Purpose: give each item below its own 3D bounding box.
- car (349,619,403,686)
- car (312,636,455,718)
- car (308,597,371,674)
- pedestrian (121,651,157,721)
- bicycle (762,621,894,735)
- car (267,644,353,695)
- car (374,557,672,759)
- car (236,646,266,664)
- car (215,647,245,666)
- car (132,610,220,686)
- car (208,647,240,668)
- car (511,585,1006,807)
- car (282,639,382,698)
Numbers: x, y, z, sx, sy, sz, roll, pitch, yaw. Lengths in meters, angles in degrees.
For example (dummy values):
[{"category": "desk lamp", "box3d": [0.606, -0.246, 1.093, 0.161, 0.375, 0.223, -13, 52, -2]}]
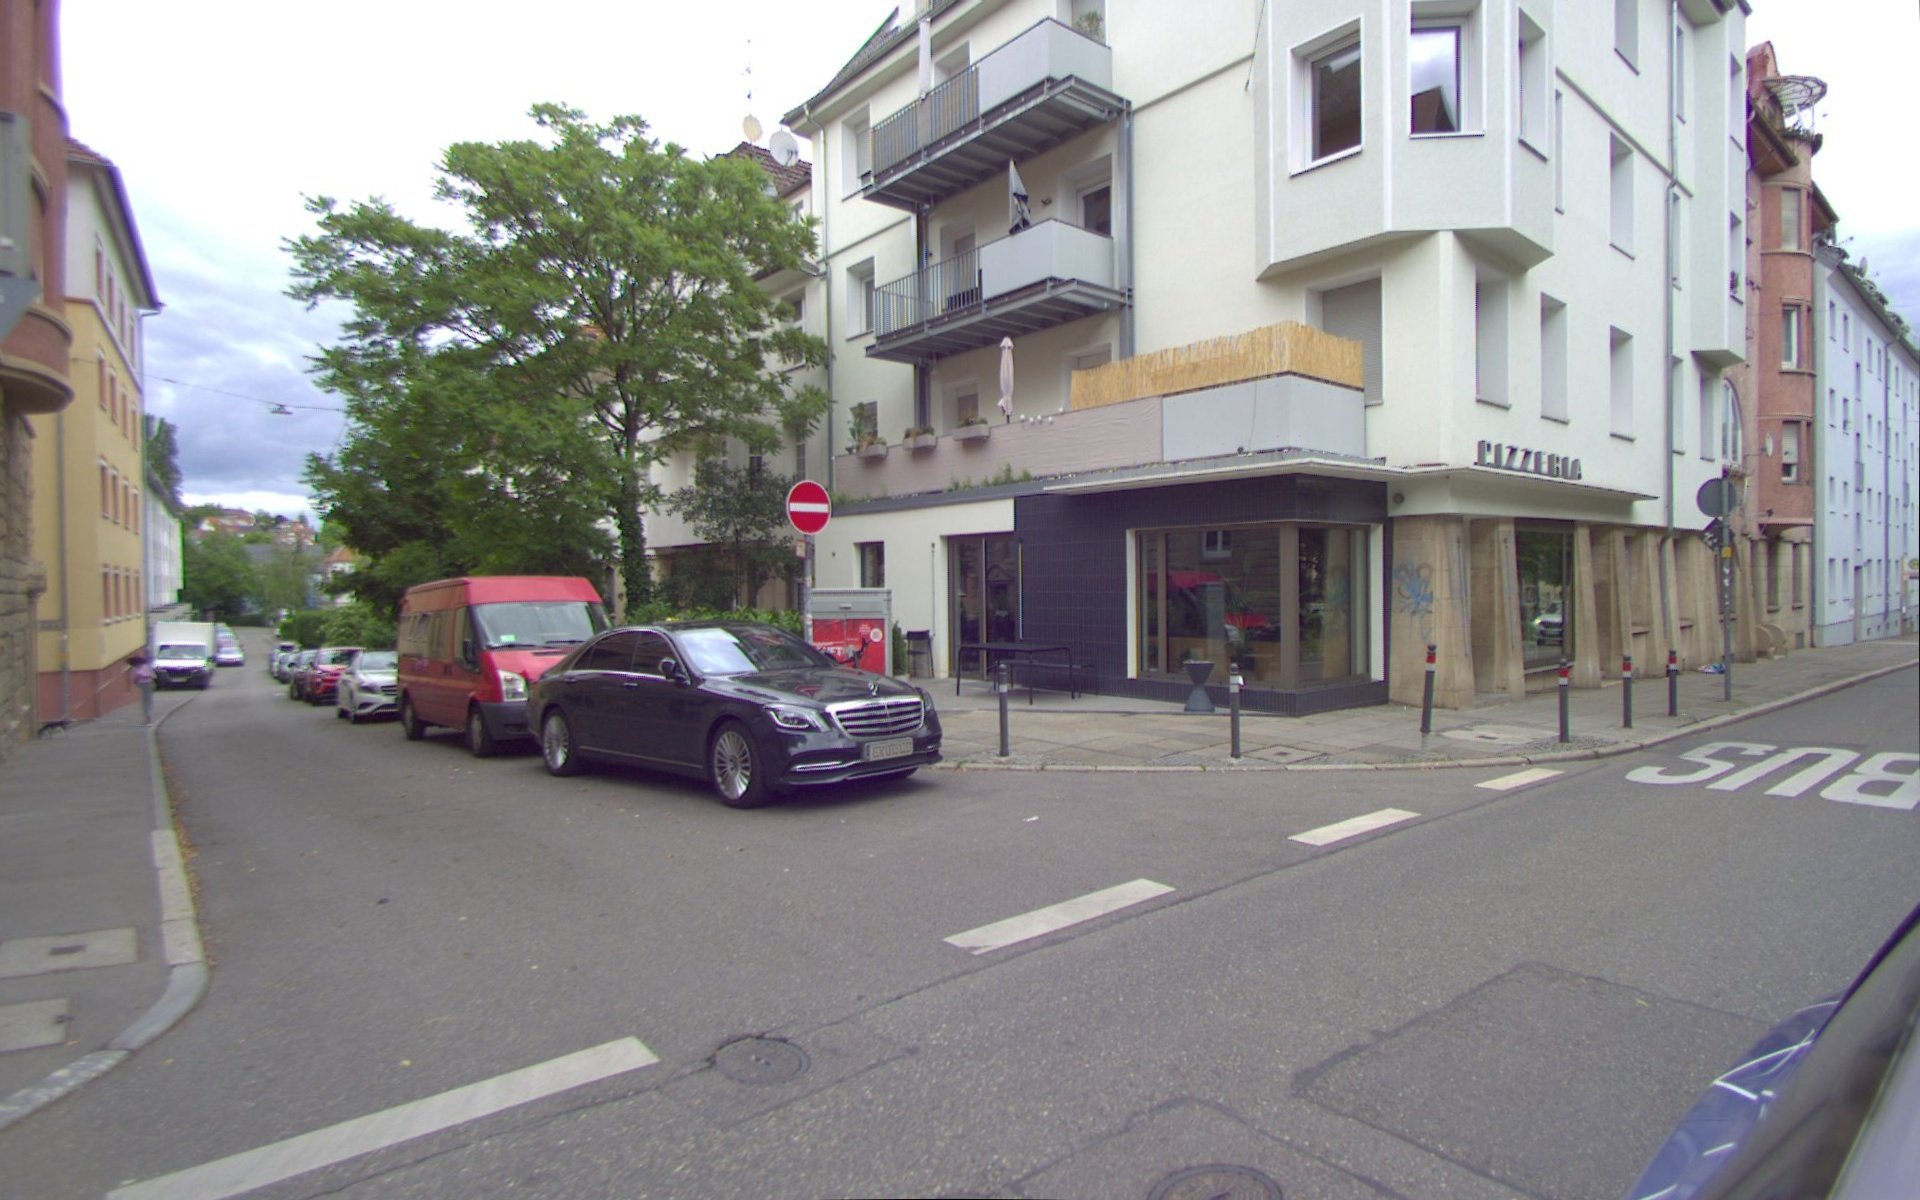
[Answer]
[{"category": "car", "box3d": [-25.272, 2.225, 43.721, 1.734, 2.721, 4.302, 1, -2, -33]}, {"category": "car", "box3d": [-12.036, 1.579, 20.987, 1.738, 1.474, 4.292, 0, -3, -41]}, {"category": "car", "box3d": [-37.381, 2.151, 60.829, 2.888, 4.228, 10.002, -1, -2, -33]}, {"category": "pedestrian", "box3d": [-19.045, 1.980, 23.476, 0.648, 1.564, 0.546, 0, -1, -41]}, {"category": "bicycle", "box3d": [-1.523, 0.853, 11.565, 1.495, 1.167, 0.625, 0, 2, 40]}, {"category": "car", "box3d": [-21.297, 2.281, 33.097, 1.738, 1.508, 4.292, 0, -3, -41]}, {"category": "car", "box3d": [-6.345, 0.767, 14.203, 2.200, 2.268, 5.590, 0, -2, -41]}, {"category": "car", "box3d": [-63.582, 4.894, 90.728, 1.690, 1.508, 4.293, -1, -2, -41]}, {"category": "car", "box3d": [-61.854, 4.744, 85.734, 1.690, 1.508, 4.293, -1, -2, -41]}, {"category": "car", "box3d": [-38.126, 2.218, 49.069, 2.970, 3.319, 9.534, 1, -2, -40]}, {"category": "car", "box3d": [-57.689, 4.471, 79.296, 1.690, 1.508, 4.293, -1, -2, -41]}, {"category": "car", "box3d": [-2.202, 0.820, 9.785, 5.125, 1.570, 2.202, -4, -4, 44]}, {"category": "car", "box3d": [-18.143, 1.989, 29.158, 1.738, 1.508, 4.292, 0, -3, -41]}]
